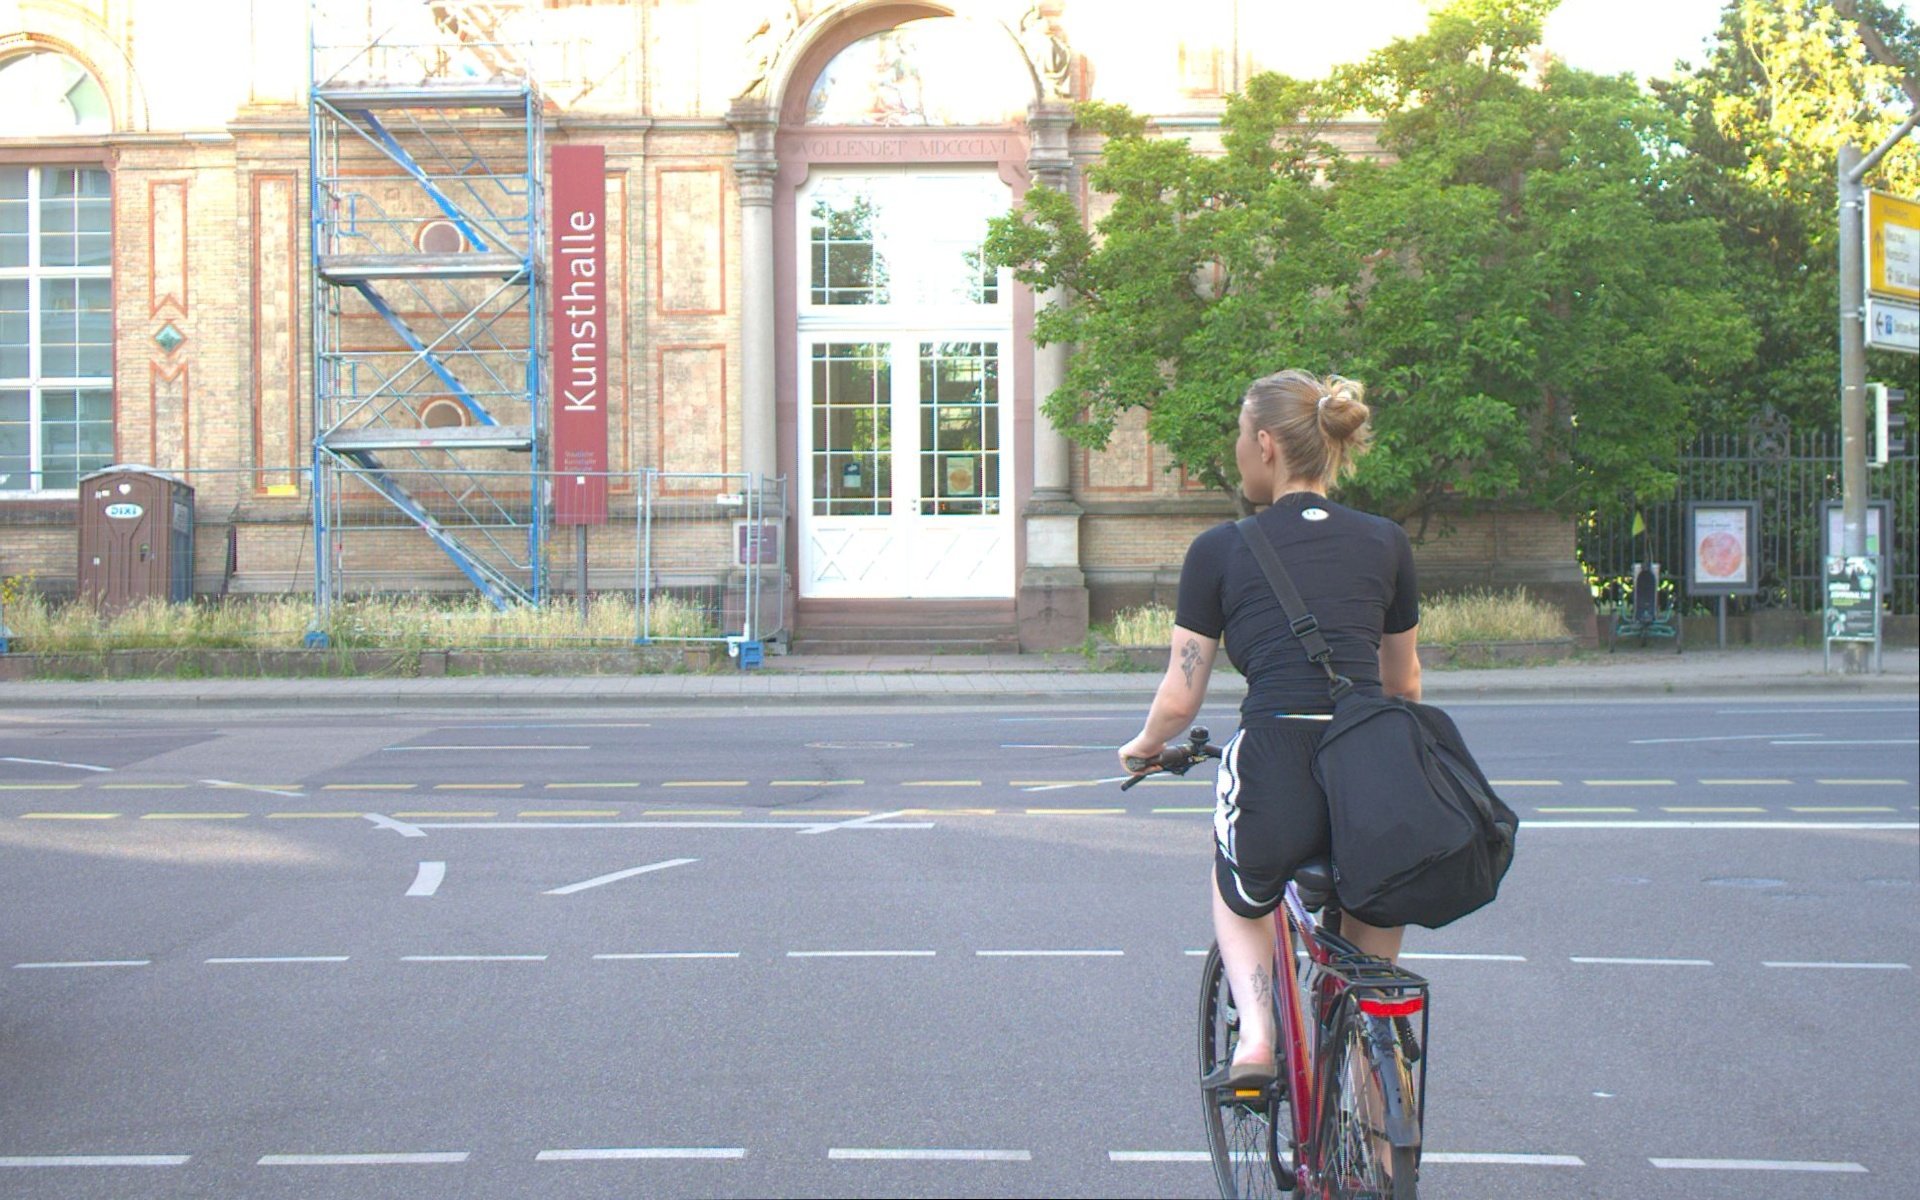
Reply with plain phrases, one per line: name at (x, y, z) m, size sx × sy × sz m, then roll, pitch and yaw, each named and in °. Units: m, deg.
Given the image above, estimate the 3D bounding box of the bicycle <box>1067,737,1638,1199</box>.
bicycle at (0.653, 0.866, 6.436) m, size 0.711 × 1.152 × 2.069 m, roll 0°, pitch -1°, yaw -3°

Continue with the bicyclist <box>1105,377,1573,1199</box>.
bicyclist at (0.666, 0.371, 6.307) m, size 0.716 × 1.497 × 0.851 m, roll 0°, pitch -1°, yaw -3°

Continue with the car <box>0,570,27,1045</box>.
car at (-3.946, 0.678, 8.605) m, size 1.782 × 1.454 × 4.423 m, roll -1°, pitch 1°, yaw 3°
